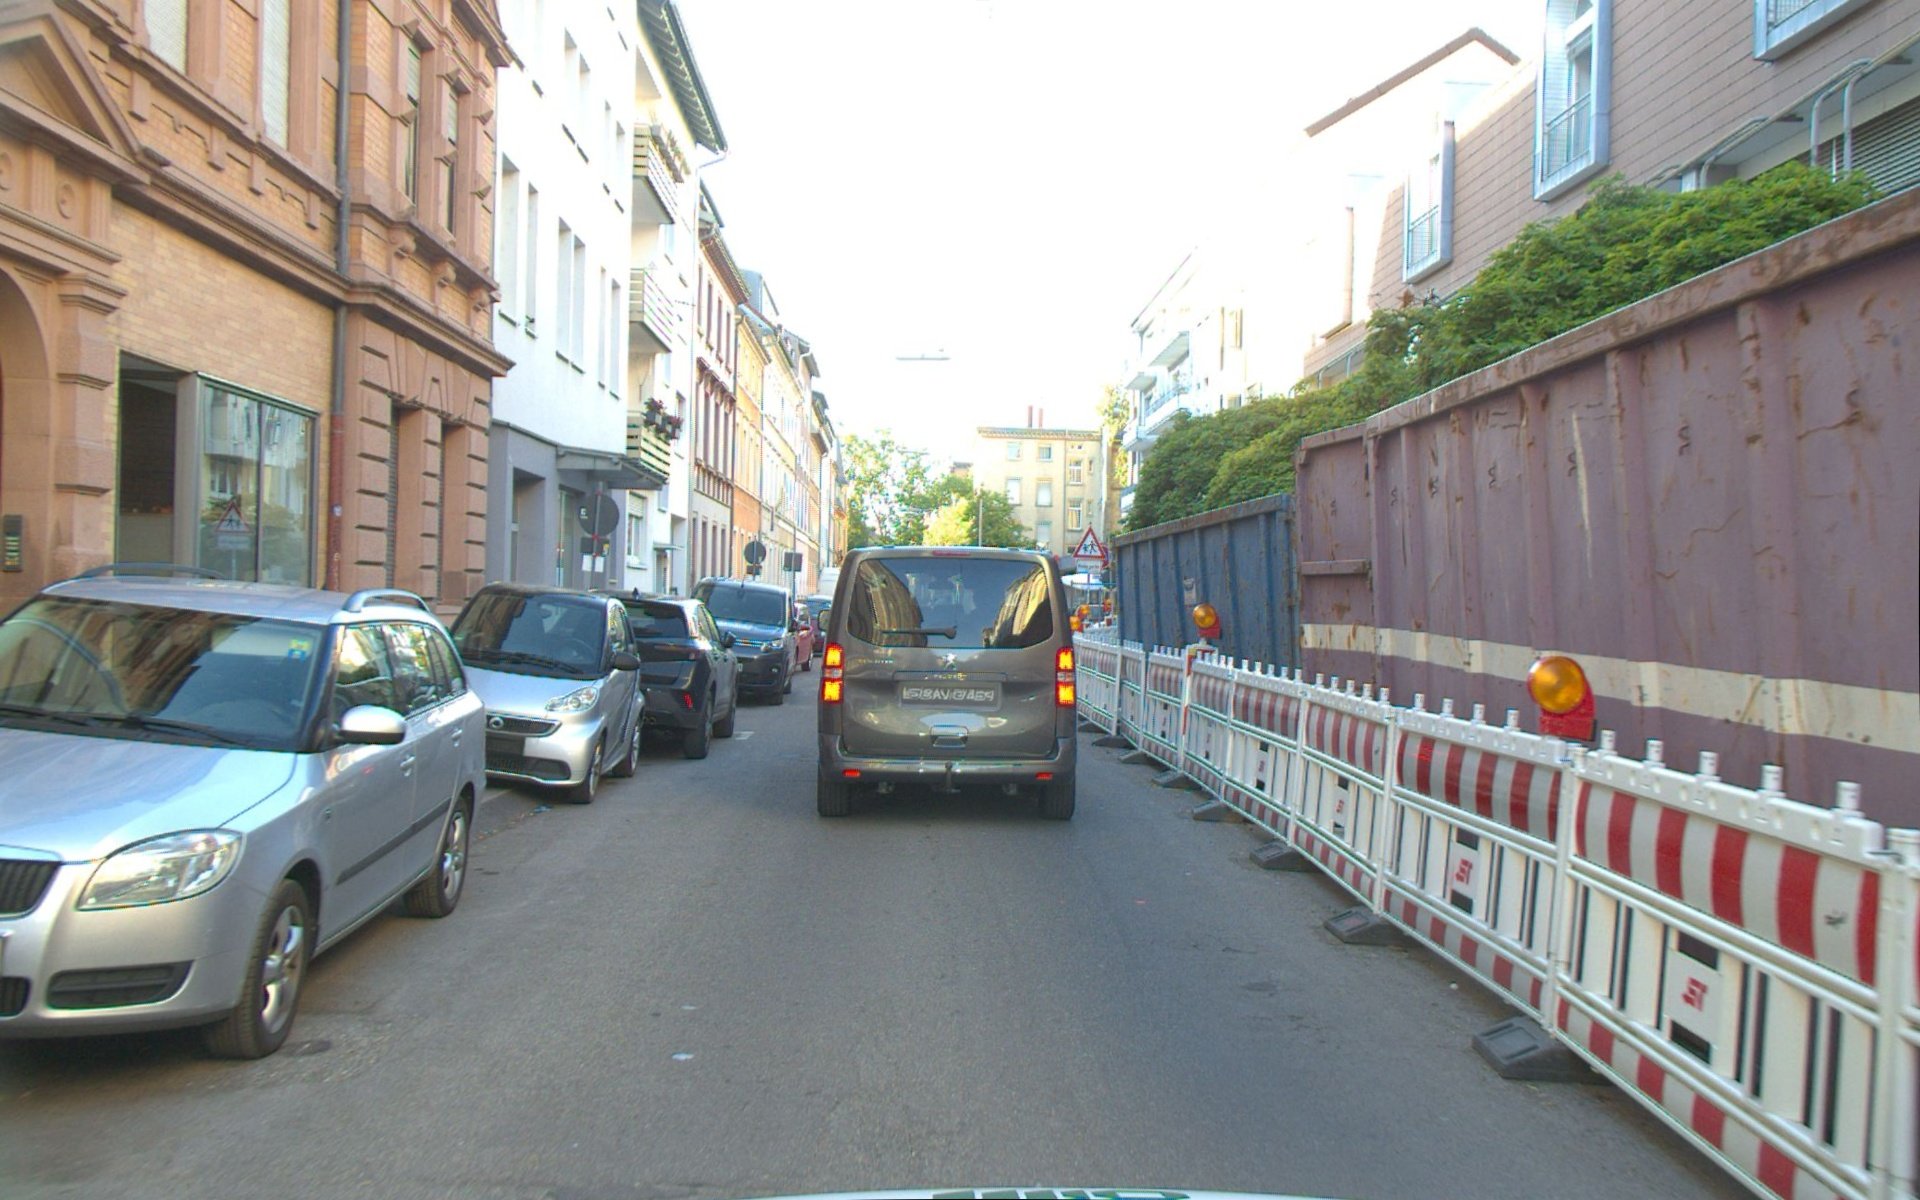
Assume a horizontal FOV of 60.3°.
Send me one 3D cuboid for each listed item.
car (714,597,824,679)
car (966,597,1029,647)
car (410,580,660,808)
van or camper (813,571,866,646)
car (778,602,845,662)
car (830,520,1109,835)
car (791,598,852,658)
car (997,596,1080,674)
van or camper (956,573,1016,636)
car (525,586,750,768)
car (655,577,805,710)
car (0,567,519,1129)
[{"bbox_3d":[-4.086,0.792,35.888,1.635,1.511,3.607,6,0,3],"label":"car"},{"bbox_3d":[1.245,0.735,57.313,1.689,1.640,4.584,2,0,-5],"label":"car"},{"bbox_3d":[-3.325,0.676,13.363,1.368,1.616,2.792,1,0,-3],"label":"car"},{"bbox_3d":[-4.576,0.295,62.901,1.910,2.696,7.135,0,0,-4],"label":"van or camper"},{"bbox_3d":[-4.117,0.869,46.274,1.624,1.473,3.284,5,0,-3],"label":"car"},{"bbox_3d":[-0.032,0.492,12.830,1.820,2.049,3.998,0,0,-3],"label":"car"},{"bbox_3d":[-4.265,0.838,51.459,1.677,1.672,3.977,4,0,-3],"label":"car"},{"bbox_3d":[1.842,0.793,40.086,1.713,1.712,4.525,2,0,0],"label":"car"},{"bbox_3d":[1.092,0.199,73.419,2.058,2.648,7.506,0,0,-4],"label":"van or camper"},{"bbox_3d":[-3.246,0.711,17.368,1.705,1.627,4.012,2,0,-3],"label":"car"},{"bbox_3d":[-3.580,0.632,26.489,1.954,1.891,4.581,2,0,-4],"label":"car"},{"bbox_3d":[-2.969,0.706,6.612,1.525,1.534,3.595,5,0,-4],"label":"car"}]
